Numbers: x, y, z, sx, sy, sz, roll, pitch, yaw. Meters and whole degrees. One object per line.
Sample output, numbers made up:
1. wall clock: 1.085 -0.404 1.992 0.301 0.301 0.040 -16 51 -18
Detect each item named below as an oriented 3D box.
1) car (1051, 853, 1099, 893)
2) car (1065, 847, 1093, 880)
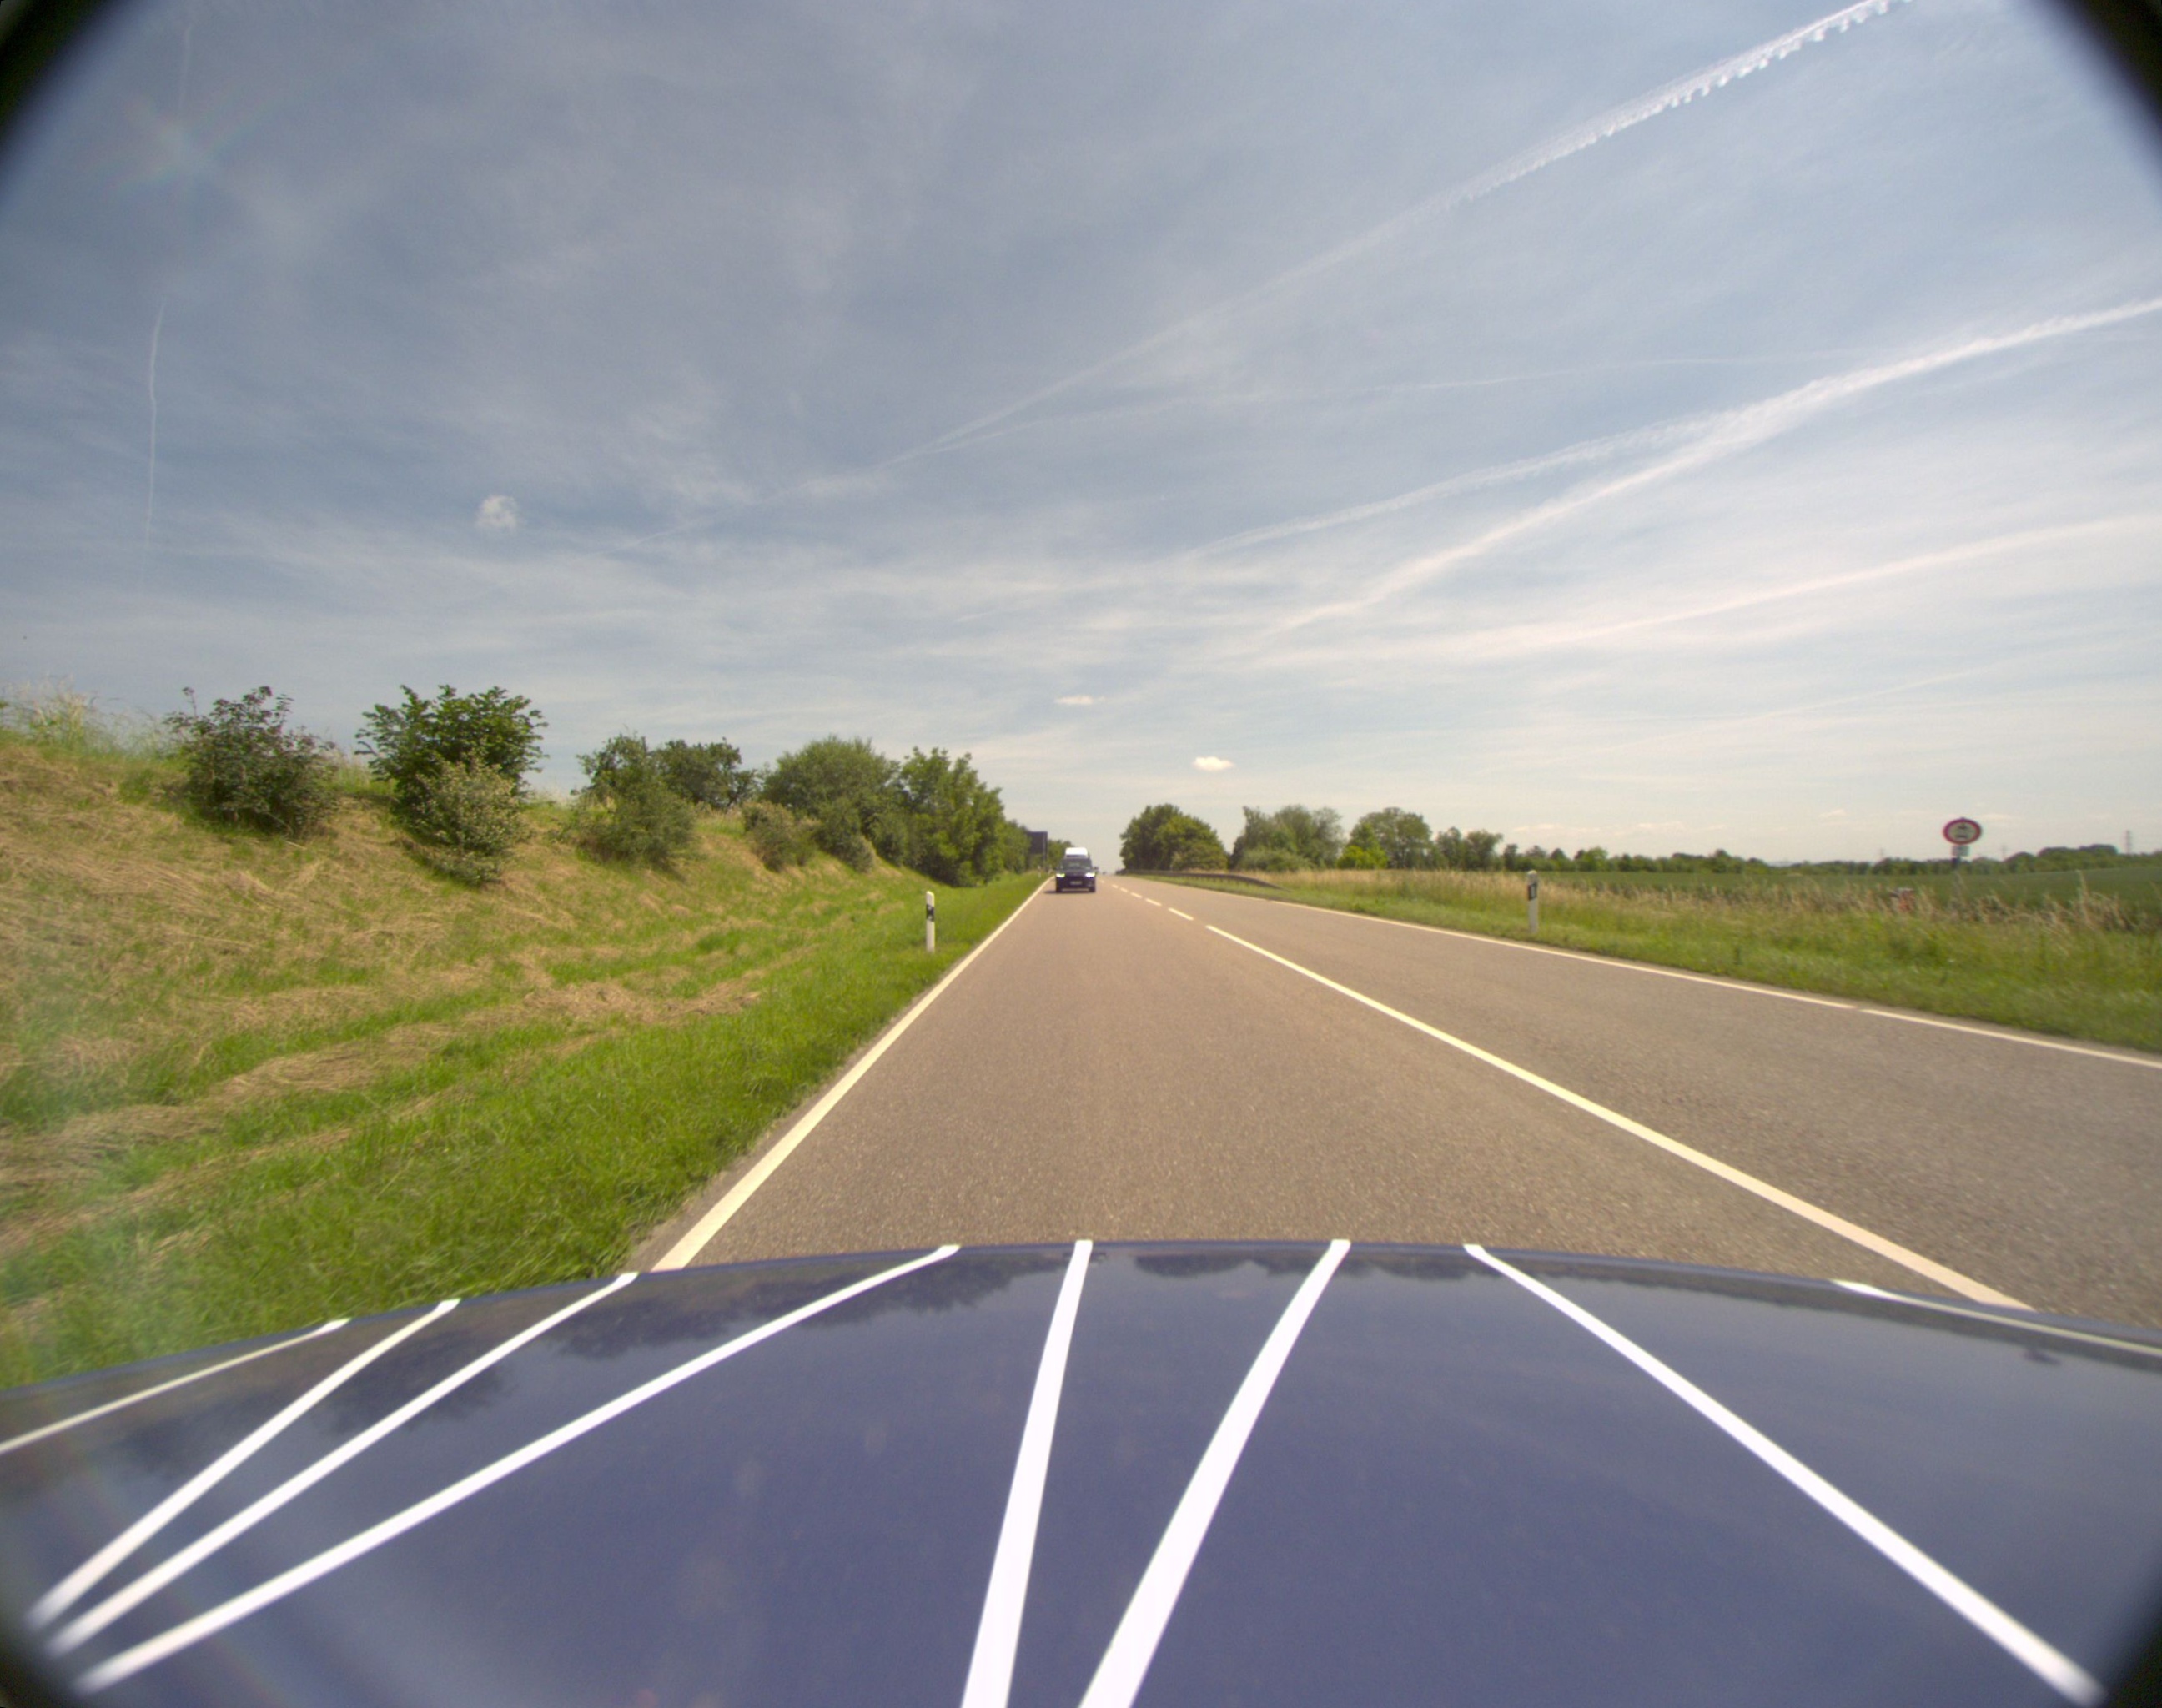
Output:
1. car: -0.206 0.844 36.905 2.039 1.691 5.513 -3 0 2
2. car: -0.112 0.746 63.107 2.226 2.617 5.752 -1 0 1
